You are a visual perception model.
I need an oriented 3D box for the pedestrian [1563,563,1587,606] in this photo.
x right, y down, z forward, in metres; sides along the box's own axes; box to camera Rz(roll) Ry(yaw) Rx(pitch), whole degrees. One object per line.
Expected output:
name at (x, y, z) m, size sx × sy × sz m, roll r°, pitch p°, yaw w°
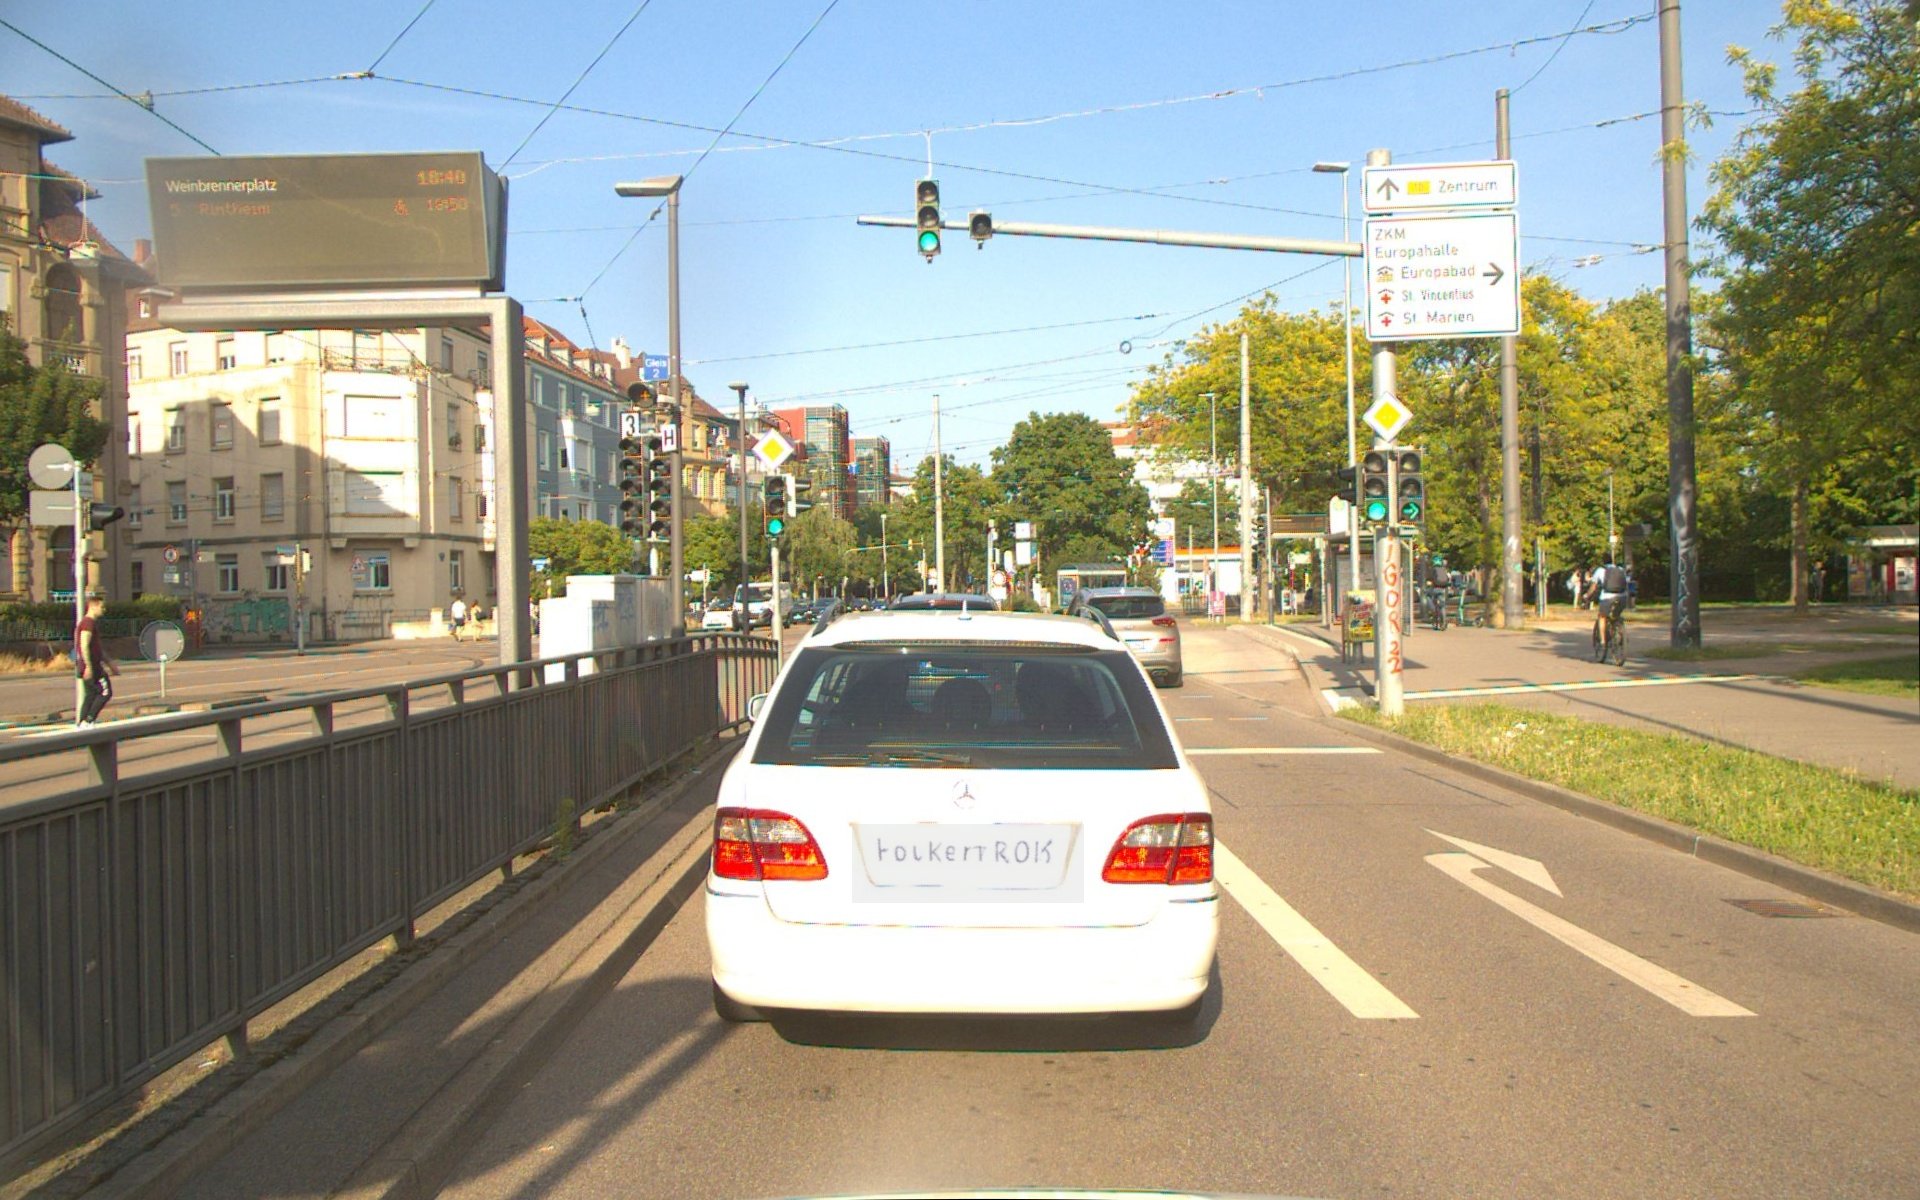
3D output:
pedestrian at (24.019, -0.609, 64.569) m, size 0.628 × 1.638 × 0.690 m, roll -1°, pitch 0°, yaw -1°

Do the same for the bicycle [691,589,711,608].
bicycle at (-13.915, -0.088, 88.934) m, size 0.753 × 0.982 × 2.034 m, roll -1°, pitch 0°, yaw 0°

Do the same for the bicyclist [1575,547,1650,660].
bicyclist at (10.697, 0.056, 27.152) m, size 0.636 × 1.776 × 1.140 m, roll -4°, pitch 0°, yaw -2°

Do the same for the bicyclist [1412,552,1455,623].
bicyclist at (12.196, -0.319, 42.644) m, size 0.705 × 1.776 × 1.140 m, roll -4°, pitch 0°, yaw 3°

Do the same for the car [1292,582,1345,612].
car at (20.464, -0.184, 94.254) m, size 1.818 × 1.542 × 3.994 m, roll -3°, pitch 0°, yaw 29°

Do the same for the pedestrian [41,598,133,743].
pedestrian at (-10.598, 0.833, 20.105) m, size 0.867 × 1.699 × 0.668 m, roll -1°, pitch 0°, yaw -20°

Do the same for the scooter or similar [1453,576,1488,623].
scooter or similar at (13.973, -0.008, 45.288) m, size 0.345 × 1.253 × 1.131 m, roll -1°, pitch 0°, yaw -15°

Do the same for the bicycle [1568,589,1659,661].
bicycle at (10.717, 0.393, 27.198) m, size 0.627 × 1.107 × 1.939 m, roll -4°, pitch 0°, yaw -1°

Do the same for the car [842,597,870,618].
car at (-8.157, 0.580, 130.174) m, size 1.654 × 1.466 × 4.002 m, roll -2°, pitch 1°, yaw 3°

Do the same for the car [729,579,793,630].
car at (-9.331, 0.166, 77.983) m, size 2.132 × 2.278 × 5.255 m, roll -1°, pitch 0°, yaw 2°

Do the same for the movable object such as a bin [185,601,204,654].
movable object such as a bin at (-25.591, 0.900, 55.271) m, size 0.261 × 1.739 × 2.357 m, roll -1°, pitch 0°, yaw -31°

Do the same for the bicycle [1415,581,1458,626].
bicycle at (12.332, 0.092, 42.805) m, size 0.627 × 1.107 × 1.734 m, roll -4°, pitch 0°, yaw 3°

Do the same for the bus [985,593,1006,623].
bus at (3.139, 0.722, 145.752) m, size 1.760 × 2.600 × 4.000 m, roll 1°, pitch -1°, yaw 1°

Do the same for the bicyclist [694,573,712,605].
bicyclist at (-13.908, -0.598, 89.370) m, size 0.744 × 1.697 × 1.167 m, roll -1°, pitch 0°, yaw 0°

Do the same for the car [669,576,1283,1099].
car at (0.026, 0.694, 6.765) m, size 1.798 × 1.527 × 3.814 m, roll 0°, pitch 0°, yaw -1°

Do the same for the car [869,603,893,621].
car at (-6.775, 1.049, 142.338) m, size 1.653 × 1.445 × 4.001 m, roll -2°, pitch 0°, yaw 3°

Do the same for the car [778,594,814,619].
car at (-10.241, 0.403, 103.660) m, size 1.730 × 1.458 × 4.001 m, roll -2°, pitch 0°, yaw 1°

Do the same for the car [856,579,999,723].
car at (-0.392, 0.574, 20.591) m, size 1.608 × 1.628 × 3.814 m, roll 0°, pitch 0°, yaw -1°

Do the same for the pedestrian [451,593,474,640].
pedestrian at (-20.474, 0.691, 68.027) m, size 0.644 × 1.914 × 0.627 m, roll -1°, pitch 0°, yaw 14°

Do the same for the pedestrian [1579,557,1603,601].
pedestrian at (24.302, -0.808, 63.726) m, size 0.628 × 1.694 × 0.690 m, roll -1°, pitch 0°, yaw -1°

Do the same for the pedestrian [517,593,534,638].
pedestrian at (-18.721, 0.658, 71.273) m, size 0.573 × 1.914 × 0.626 m, roll -1°, pitch 0°, yaw -3°

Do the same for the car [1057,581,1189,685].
car at (2.683, 0.514, 28.014) m, size 1.798 × 1.628 × 3.814 m, roll 0°, pitch 0°, yaw -1°

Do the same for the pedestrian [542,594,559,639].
pedestrian at (-17.743, 0.720, 71.691) m, size 0.573 × 1.914 × 0.626 m, roll -1°, pitch 0°, yaw -3°

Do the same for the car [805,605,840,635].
car at (-8.084, 1.177, 97.723) m, size 1.731 × 1.520 × 4.744 m, roll -2°, pitch 2°, yaw -1°

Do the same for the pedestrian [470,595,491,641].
pedestrian at (-19.712, 0.743, 67.997) m, size 0.661 × 1.880 × 0.649 m, roll -1°, pitch 0°, yaw -3°

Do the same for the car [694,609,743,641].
car at (-12.053, 1.223, 82.821) m, size 1.757 × 1.482 × 4.000 m, roll -2°, pitch 0°, yaw 1°

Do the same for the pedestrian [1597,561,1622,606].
pedestrian at (24.572, -0.617, 62.555) m, size 0.628 × 1.694 × 0.690 m, roll -1°, pitch 0°, yaw -1°

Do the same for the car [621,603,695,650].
car at (-11.186, 0.966, 61.423) m, size 1.641 × 1.552 × 4.127 m, roll -1°, pitch 1°, yaw 5°

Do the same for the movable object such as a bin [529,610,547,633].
movable object such as a bin at (-18.403, 0.938, 72.079) m, size 0.571 × 0.963 × 0.663 m, roll -1°, pitch 0°, yaw 2°
